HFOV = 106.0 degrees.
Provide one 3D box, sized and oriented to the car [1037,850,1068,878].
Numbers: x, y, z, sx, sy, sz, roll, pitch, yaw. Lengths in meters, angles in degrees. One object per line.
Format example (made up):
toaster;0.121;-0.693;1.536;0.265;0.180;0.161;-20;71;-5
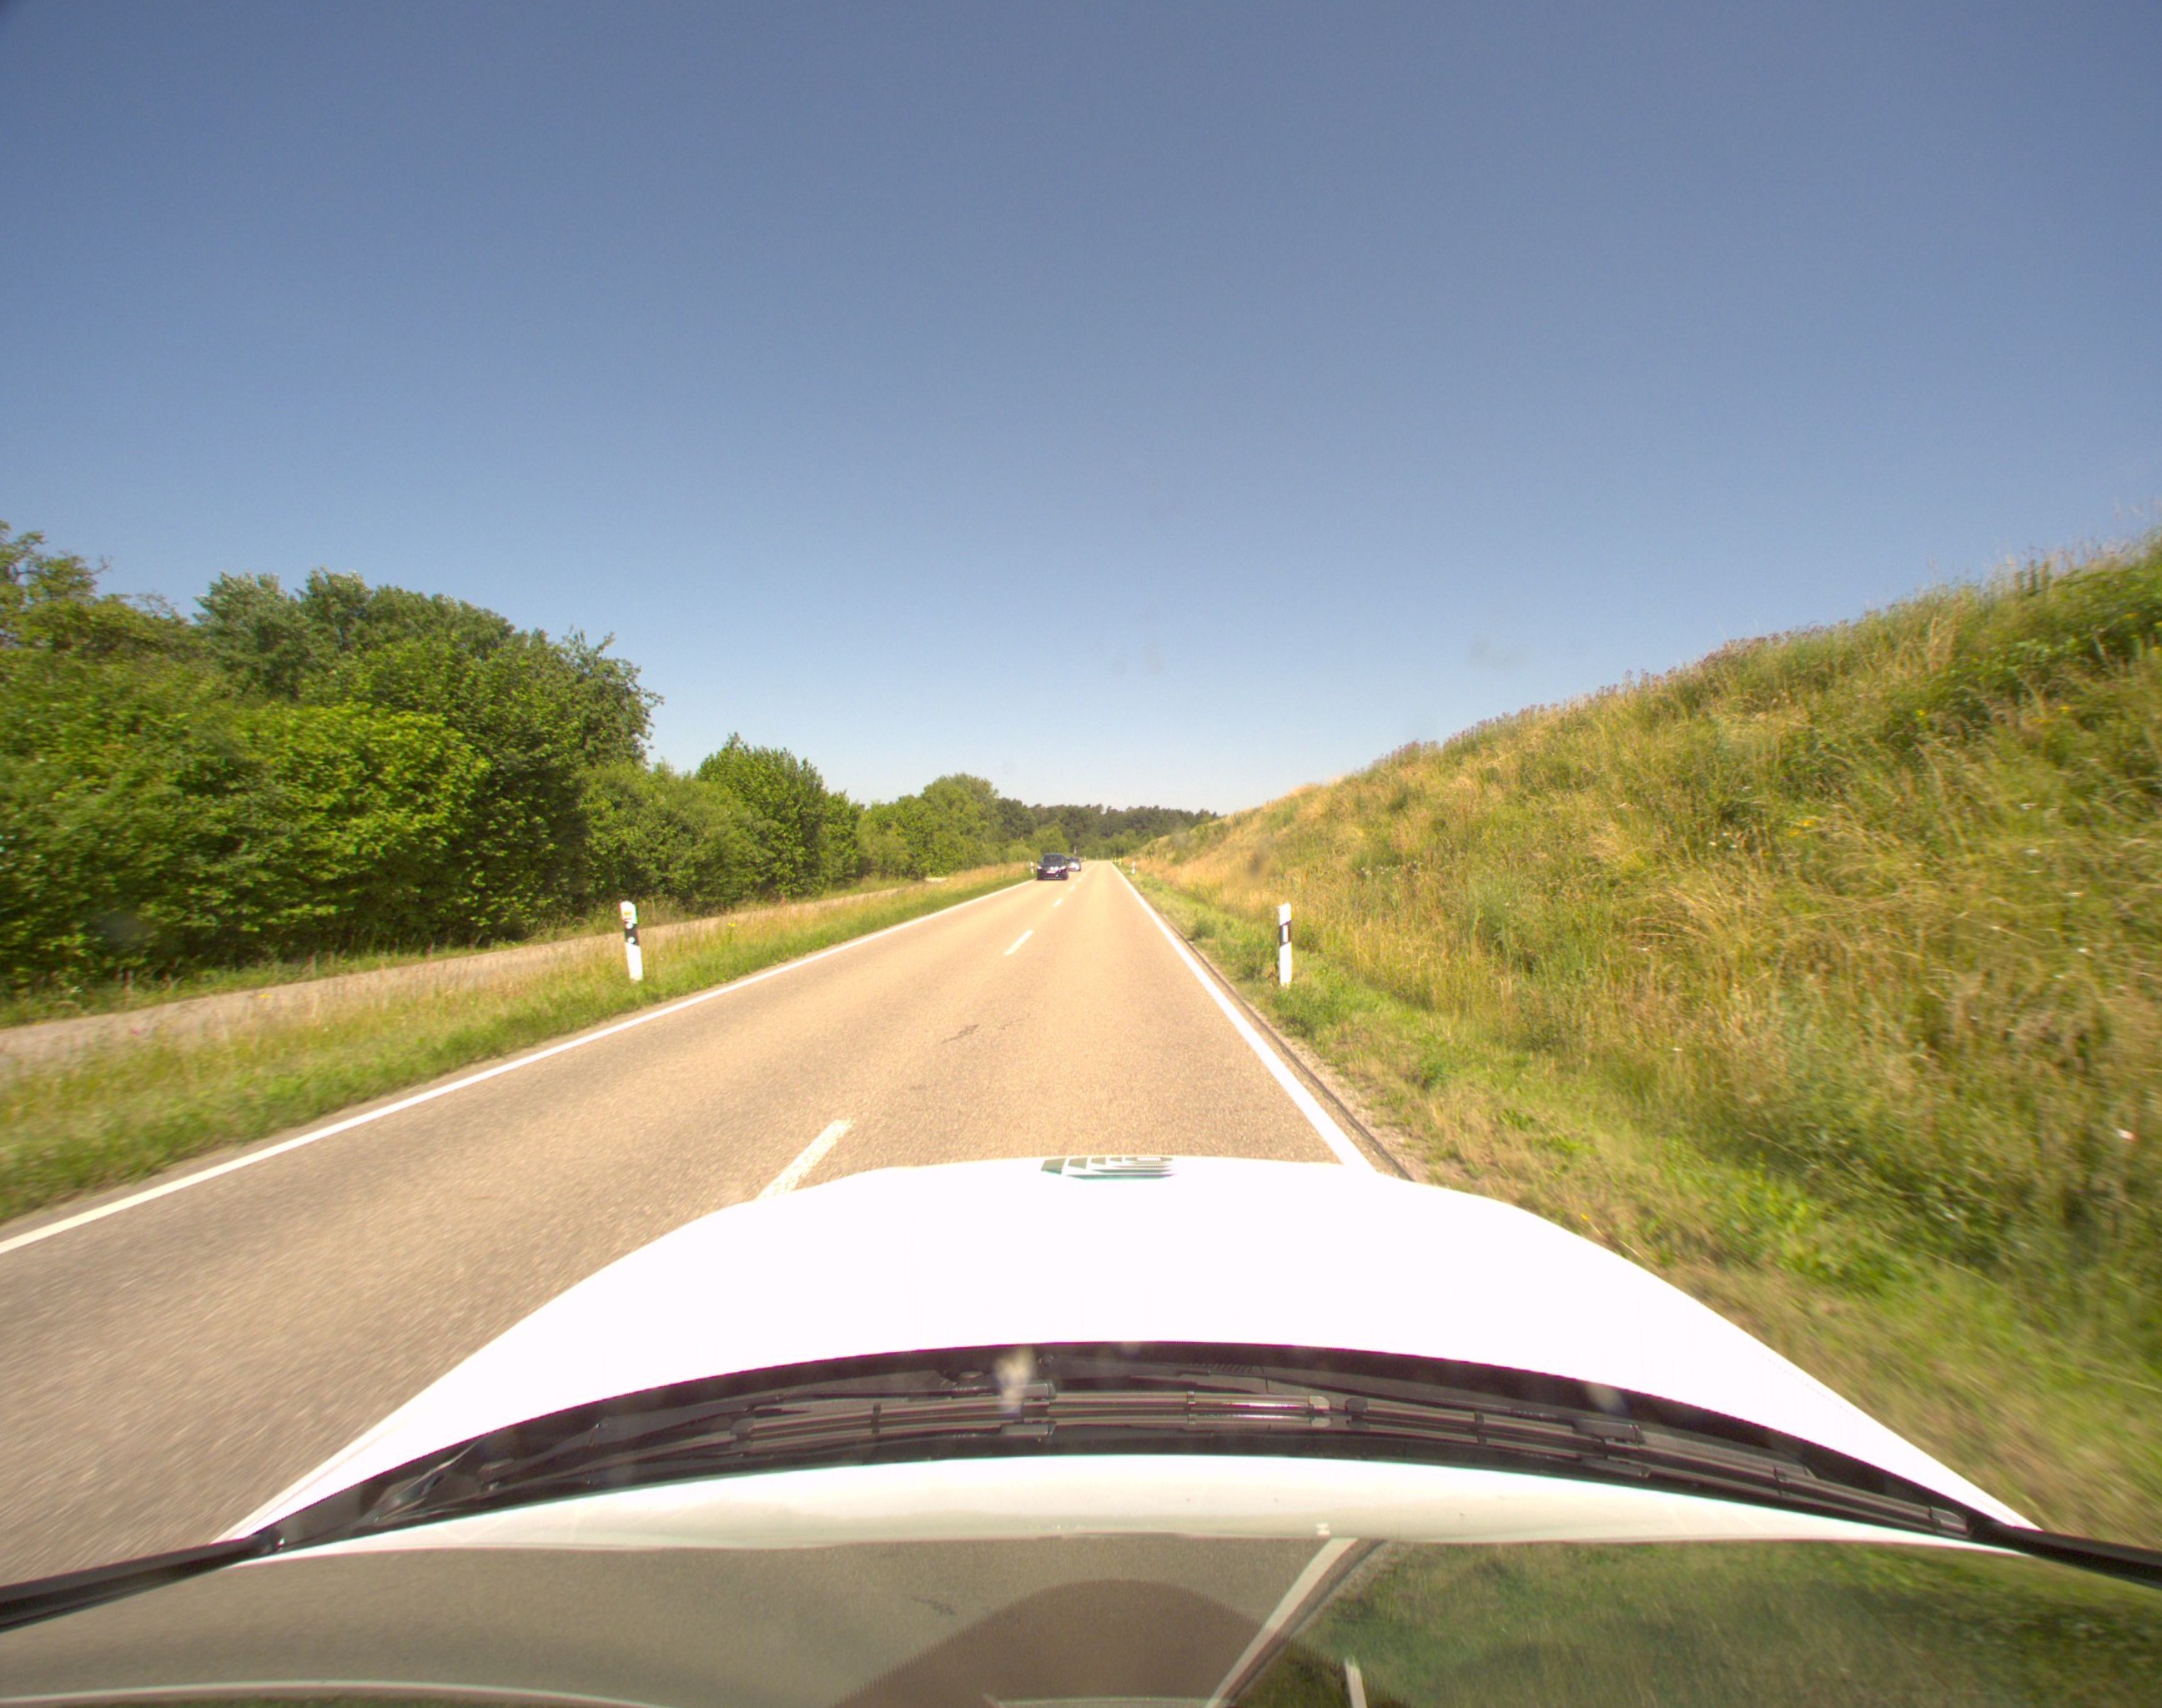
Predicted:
car;-1.755;0.590;50.553;1.710;1.647;3.915;0;0;1

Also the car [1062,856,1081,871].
car;-0.890;0.939;78.035;1.716;1.354;4.001;1;-1;1
